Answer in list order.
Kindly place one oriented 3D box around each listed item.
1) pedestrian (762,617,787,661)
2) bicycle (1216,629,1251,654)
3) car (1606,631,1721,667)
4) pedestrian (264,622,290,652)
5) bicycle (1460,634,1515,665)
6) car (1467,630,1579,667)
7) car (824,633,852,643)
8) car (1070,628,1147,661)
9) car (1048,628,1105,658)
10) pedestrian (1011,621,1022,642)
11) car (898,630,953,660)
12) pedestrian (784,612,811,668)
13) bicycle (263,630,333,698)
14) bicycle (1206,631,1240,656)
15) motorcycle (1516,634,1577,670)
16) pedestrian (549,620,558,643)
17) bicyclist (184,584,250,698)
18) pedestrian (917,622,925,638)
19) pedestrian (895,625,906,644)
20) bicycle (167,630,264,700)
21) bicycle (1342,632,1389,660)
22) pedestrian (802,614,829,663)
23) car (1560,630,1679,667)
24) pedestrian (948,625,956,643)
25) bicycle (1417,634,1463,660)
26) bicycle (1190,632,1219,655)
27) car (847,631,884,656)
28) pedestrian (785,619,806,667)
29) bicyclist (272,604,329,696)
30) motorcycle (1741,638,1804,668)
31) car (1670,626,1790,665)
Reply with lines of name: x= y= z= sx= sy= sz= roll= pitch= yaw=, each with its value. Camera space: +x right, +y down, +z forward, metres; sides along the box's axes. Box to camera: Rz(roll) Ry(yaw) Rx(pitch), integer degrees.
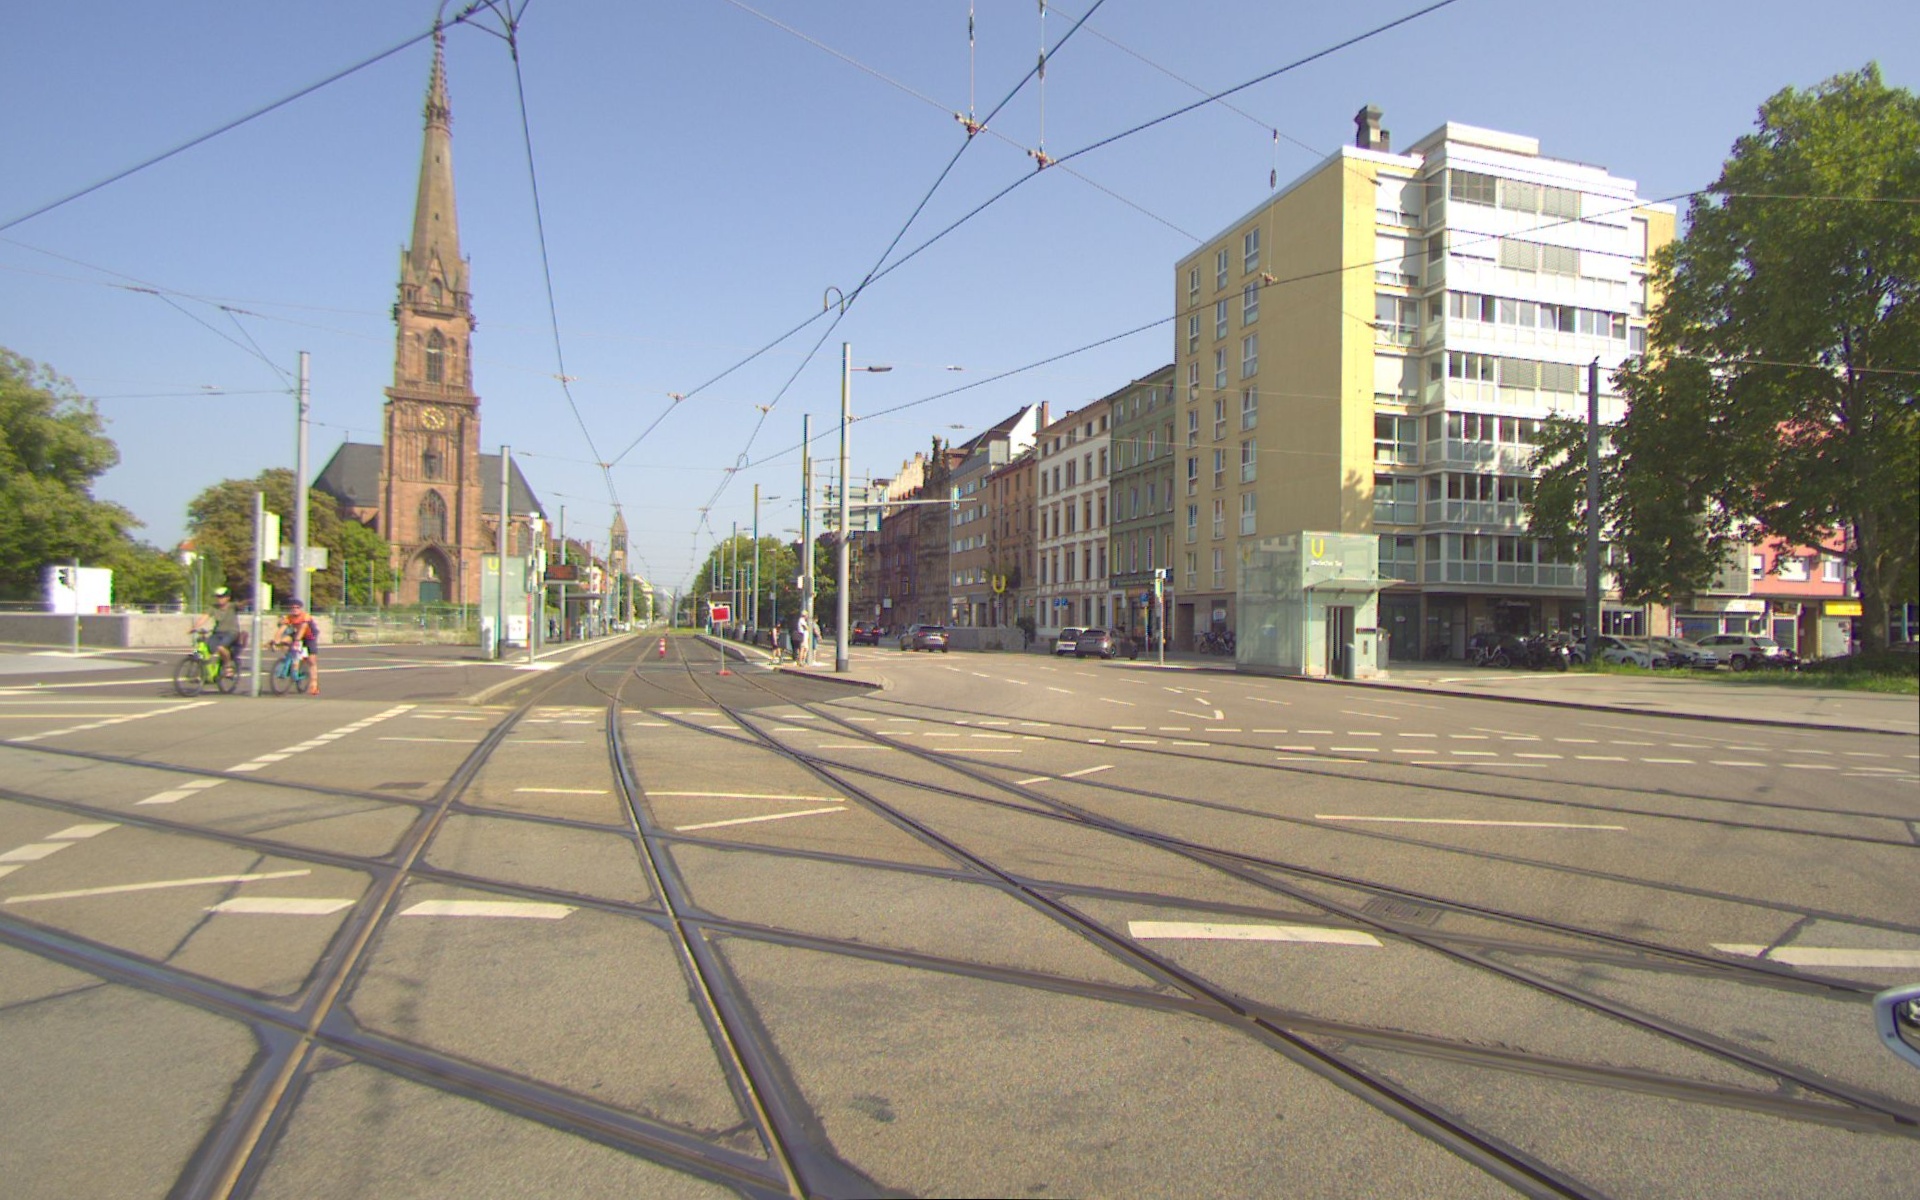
pedestrian: x=-6.799 y=1.431 z=36.828 sx=0.797 sy=1.568 sz=0.546 roll=-2 pitch=-1 yaw=-15
bicycle: x=14.237 y=2.172 z=52.327 sx=0.596 sy=1.278 sz=1.986 roll=1 pitch=-2 yaw=-24
car: x=32.022 y=2.194 z=45.859 sx=1.967 sy=1.527 sz=3.988 roll=1 pitch=-2 yaw=-15
pedestrian: x=-29.663 y=1.607 z=43.641 sx=0.548 sy=1.309 sz=0.767 roll=0 pitch=-1 yaw=27
bicycle: x=21.872 y=2.035 z=41.700 sx=0.516 sy=1.251 sz=2.291 roll=1 pitch=-2 yaw=-20
car: x=23.405 y=1.984 z=41.956 sx=1.634 sy=1.460 sz=4.182 roll=1 pitch=-2 yaw=-15
car: x=-19.716 y=6.159 z=162.744 sx=4.131 sy=1.584 sz=1.991 roll=1 pitch=-2 yaw=-21
car: x=7.008 y=2.084 z=47.060 sx=1.817 sy=1.442 sz=4.396 roll=-1 pitch=-3 yaw=34
car: x=5.990 y=2.178 z=51.396 sx=1.595 sy=1.483 sz=3.521 roll=-1 pitch=-2 yaw=32
pedestrian: x=4.406 y=2.463 z=78.527 sx=0.600 sy=1.650 sz=0.735 roll=1 pitch=-1 yaw=-16
car: x=-1.856 y=2.312 z=52.328 sx=1.840 sy=1.443 sz=4.343 roll=2 pitch=-2 yaw=-16
pedestrian: x=-5.397 y=1.310 z=33.381 sx=0.820 sy=1.812 sz=0.728 roll=-2 pitch=-1 yaw=-9
bicycle: x=-12.209 y=1.158 z=18.567 sx=0.305 sy=1.181 sz=1.499 roll=1 pitch=-1 yaw=-1
bicycle: x=13.549 y=2.234 z=51.828 sx=0.596 sy=1.278 sz=1.986 roll=1 pitch=-2 yaw=-24
motorcycle: x=19.778 y=1.731 z=33.912 sx=0.691 sy=1.162 sz=2.301 roll=0 pitch=-2 yaw=-1
pedestrian: x=-30.632 y=2.396 z=75.677 sx=0.510 sy=1.723 sz=0.662 roll=1 pitch=-1 yaw=-17
bicyclist: x=-13.432 y=0.737 z=18.186 sx=0.570 sy=2.000 sz=0.807 roll=1 pitch=-1 yaw=-2
pedestrian: x=-4.367 y=3.332 z=112.051 sx=0.710 sy=1.811 sz=0.853 roll=1 pitch=-2 yaw=-16
pedestrian: x=-6.005 y=3.493 z=101.641 sx=0.914 sy=1.856 sz=0.797 roll=1 pitch=-1 yaw=-20
bicycle: x=-13.433 y=1.152 z=18.183 sx=0.370 sy=1.181 sz=1.859 roll=1 pitch=-1 yaw=-1
bicycle: x=18.209 y=2.044 z=45.072 sx=1.990 sy=1.222 sz=0.668 roll=0 pitch=-1 yaw=-17
pedestrian: x=-5.190 y=1.391 z=36.040 sx=0.803 sy=1.715 sz=0.649 roll=-2 pitch=-1 yaw=-16
car: x=28.320 y=2.060 z=43.279 sx=1.967 sy=1.527 sz=3.988 roll=1 pitch=-2 yaw=-15
pedestrian: x=-0.833 y=3.509 z=103.143 sx=0.596 sy=1.856 sz=0.739 roll=1 pitch=-1 yaw=-20
bicycle: x=22.438 y=2.197 z=46.938 sx=1.990 sy=1.199 sz=0.668 roll=0 pitch=-1 yaw=-17
bicycle: x=13.358 y=2.368 z=54.943 sx=0.594 sy=1.278 sz=1.991 roll=1 pitch=-2 yaw=-16
car: x=-6.765 y=3.054 z=71.342 sx=1.808 sy=1.642 sz=4.343 roll=2 pitch=-2 yaw=-16
pedestrian: x=-5.706 y=1.479 z=34.814 sx=0.624 sy=1.619 sz=0.466 roll=-2 pitch=-1 yaw=-18
bicyclist: x=-12.187 y=0.915 z=18.588 sx=0.502 sy=1.652 sz=0.807 roll=1 pitch=-1 yaw=-2
motorcycle: x=29.117 y=1.890 z=36.034 sx=0.691 sy=1.015 sz=1.957 roll=0 pitch=-2 yaw=-1
car: x=35.181 y=2.049 z=46.030 sx=1.967 sy=1.666 sz=3.988 roll=1 pitch=-2 yaw=-15
